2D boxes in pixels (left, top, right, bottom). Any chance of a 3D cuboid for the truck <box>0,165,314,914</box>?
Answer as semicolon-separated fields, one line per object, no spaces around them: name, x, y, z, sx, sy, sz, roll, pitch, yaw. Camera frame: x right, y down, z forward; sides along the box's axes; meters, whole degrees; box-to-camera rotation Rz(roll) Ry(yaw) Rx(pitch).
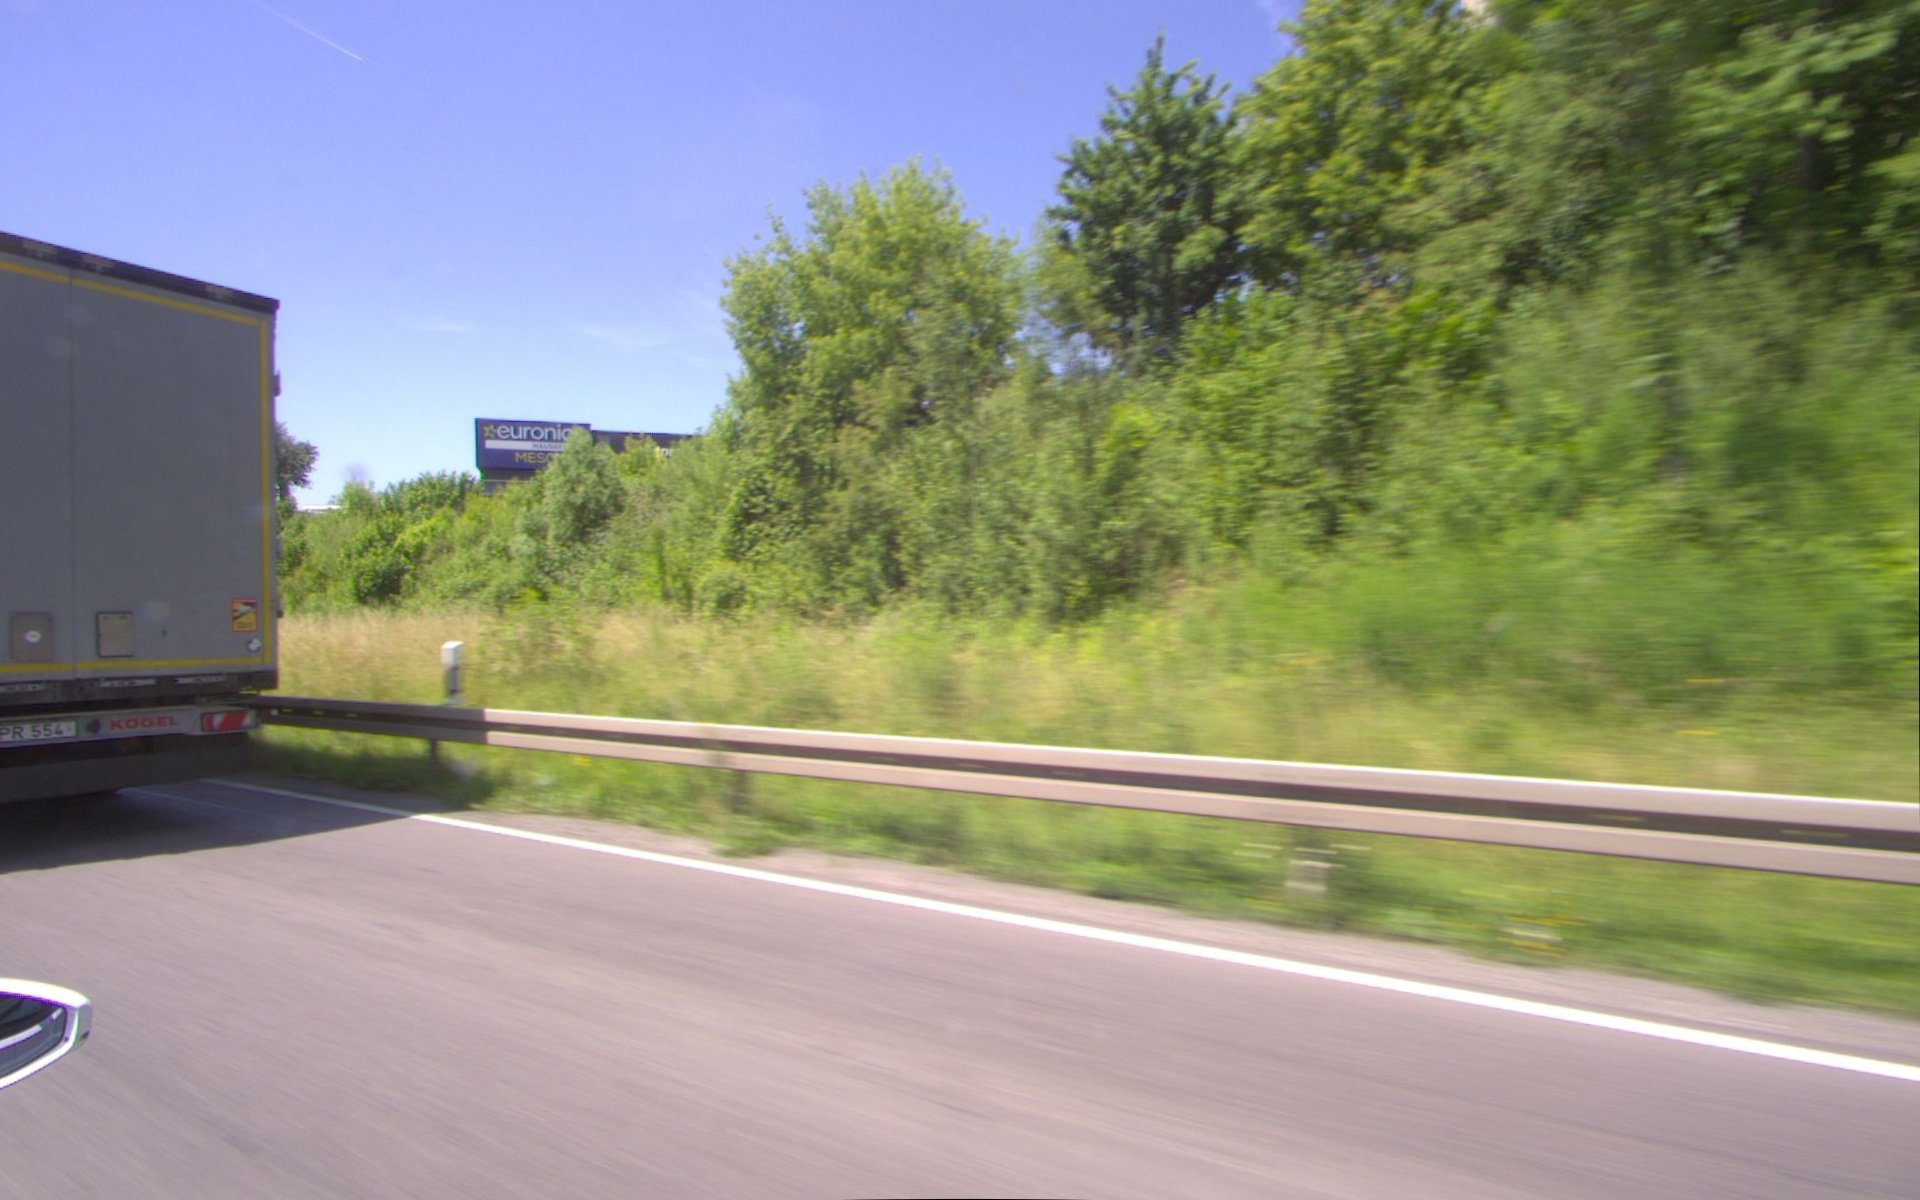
truck;-12.738;-0.092;11.019;16.419;4.698;2.751;-2;-2;32
